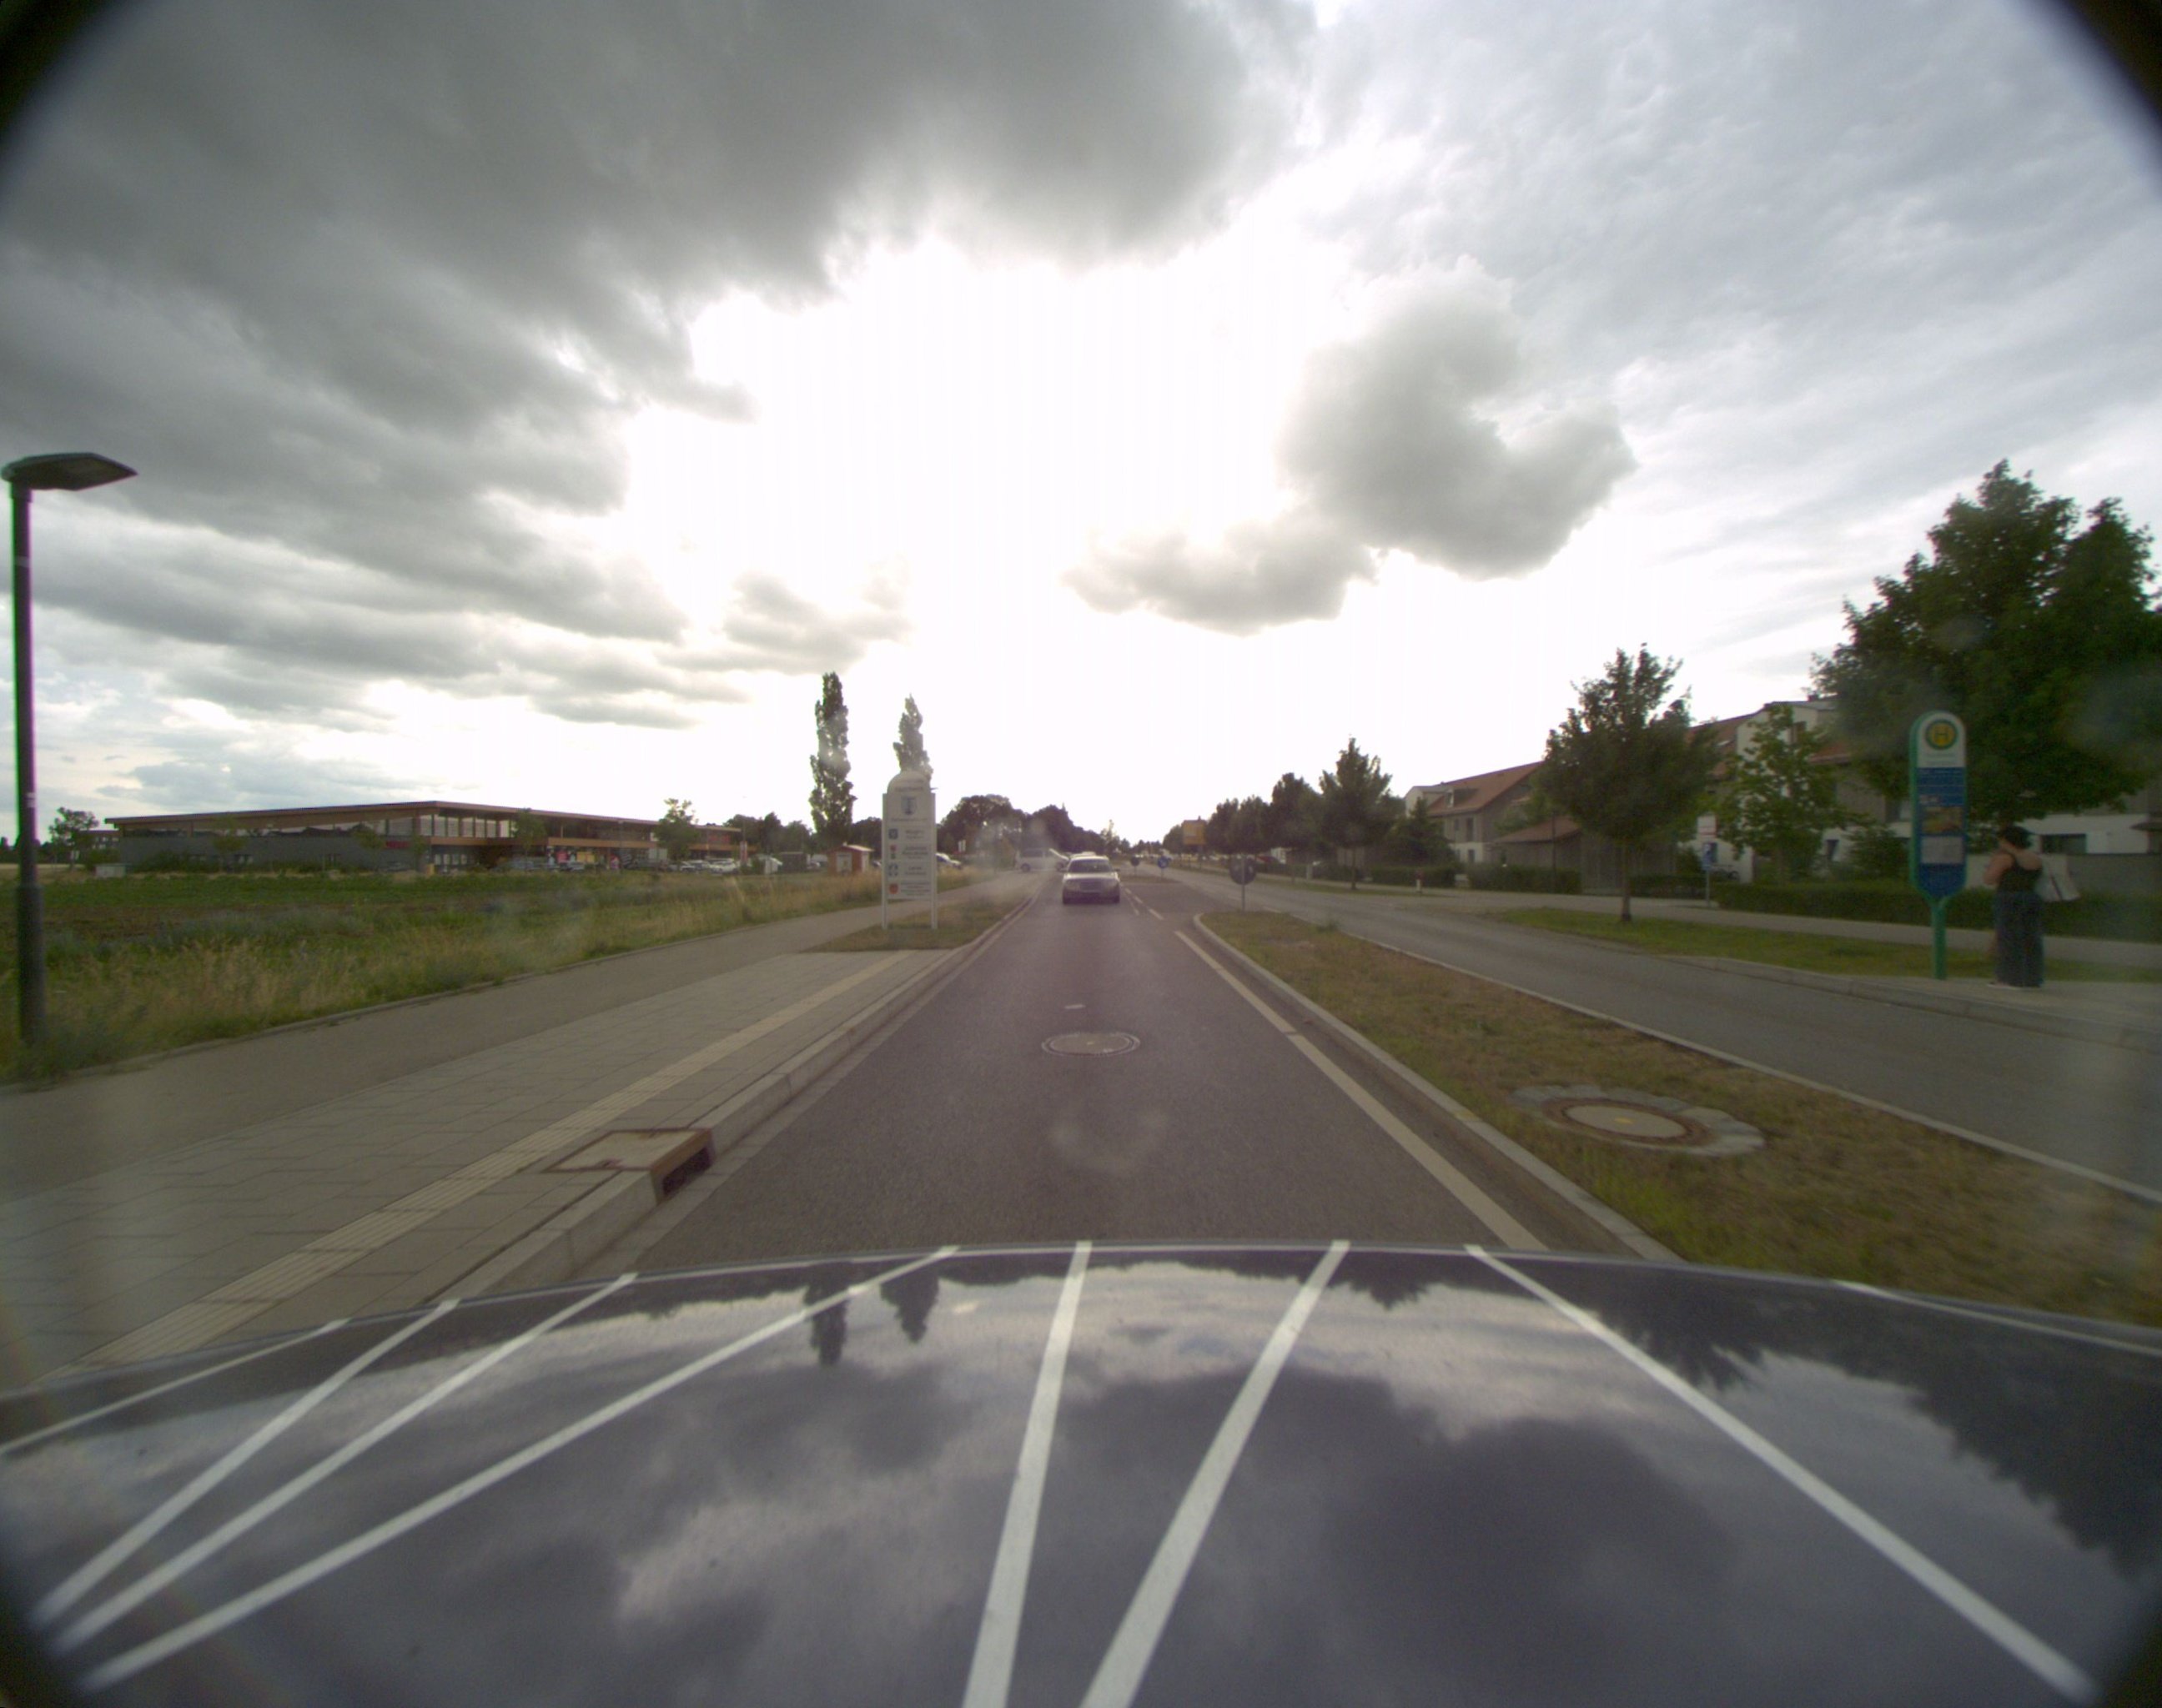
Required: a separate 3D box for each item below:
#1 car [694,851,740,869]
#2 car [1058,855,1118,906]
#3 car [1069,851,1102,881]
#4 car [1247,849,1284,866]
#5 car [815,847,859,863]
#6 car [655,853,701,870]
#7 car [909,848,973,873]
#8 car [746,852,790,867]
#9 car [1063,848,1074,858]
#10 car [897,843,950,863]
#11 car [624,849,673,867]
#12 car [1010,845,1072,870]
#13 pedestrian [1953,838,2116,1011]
[{"bbox_3d":[-46.998,0.768,98.150,4.858,2.002,1.998,-2,1,-7],"label":"car"},{"bbox_3d":[0.305,0.793,25.220,1.763,1.410,4.520,-2,1,2],"label":"car"},{"bbox_3d":[0.276,0.659,44.022,1.763,1.495,4.690,-2,1,1],"label":"car"},{"bbox_3d":[25.084,0.461,103.537,4.568,2.002,2.000,-2,1,5],"label":"car"},{"bbox_3d":[-34.752,0.167,108.431,5.527,2.002,1.999,-2,1,-6],"label":"car"},{"bbox_3d":[-53.722,0.967,101.318,4.858,2.002,1.998,-2,1,-7],"label":"car"},{"bbox_3d":[-12.643,0.578,68.707,5.313,2.002,2.000,-2,1,2],"label":"car"},{"bbox_3d":[-46.659,0.758,113.361,5.527,2.002,1.999,-2,1,-6],"label":"car"},{"bbox_3d":[-2.543,-0.237,153.308,1.998,2.002,4.000,-1,0,0],"label":"car"},{"bbox_3d":[-17.420,-0.106,84.227,5.527,2.002,1.999,-2,1,-6],"label":"car"},{"bbox_3d":[-53.845,0.443,94.650,4.858,2.002,1.998,-2,1,-7],"label":"car"},{"bbox_3d":[-3.517,0.287,68.127,5.313,2.002,2.562,-2,1,2],"label":"car"},{"bbox_3d":[9.437,0.667,7.554,0.590,1.627,0.813,0,1,0],"label":"pedestrian"}]
